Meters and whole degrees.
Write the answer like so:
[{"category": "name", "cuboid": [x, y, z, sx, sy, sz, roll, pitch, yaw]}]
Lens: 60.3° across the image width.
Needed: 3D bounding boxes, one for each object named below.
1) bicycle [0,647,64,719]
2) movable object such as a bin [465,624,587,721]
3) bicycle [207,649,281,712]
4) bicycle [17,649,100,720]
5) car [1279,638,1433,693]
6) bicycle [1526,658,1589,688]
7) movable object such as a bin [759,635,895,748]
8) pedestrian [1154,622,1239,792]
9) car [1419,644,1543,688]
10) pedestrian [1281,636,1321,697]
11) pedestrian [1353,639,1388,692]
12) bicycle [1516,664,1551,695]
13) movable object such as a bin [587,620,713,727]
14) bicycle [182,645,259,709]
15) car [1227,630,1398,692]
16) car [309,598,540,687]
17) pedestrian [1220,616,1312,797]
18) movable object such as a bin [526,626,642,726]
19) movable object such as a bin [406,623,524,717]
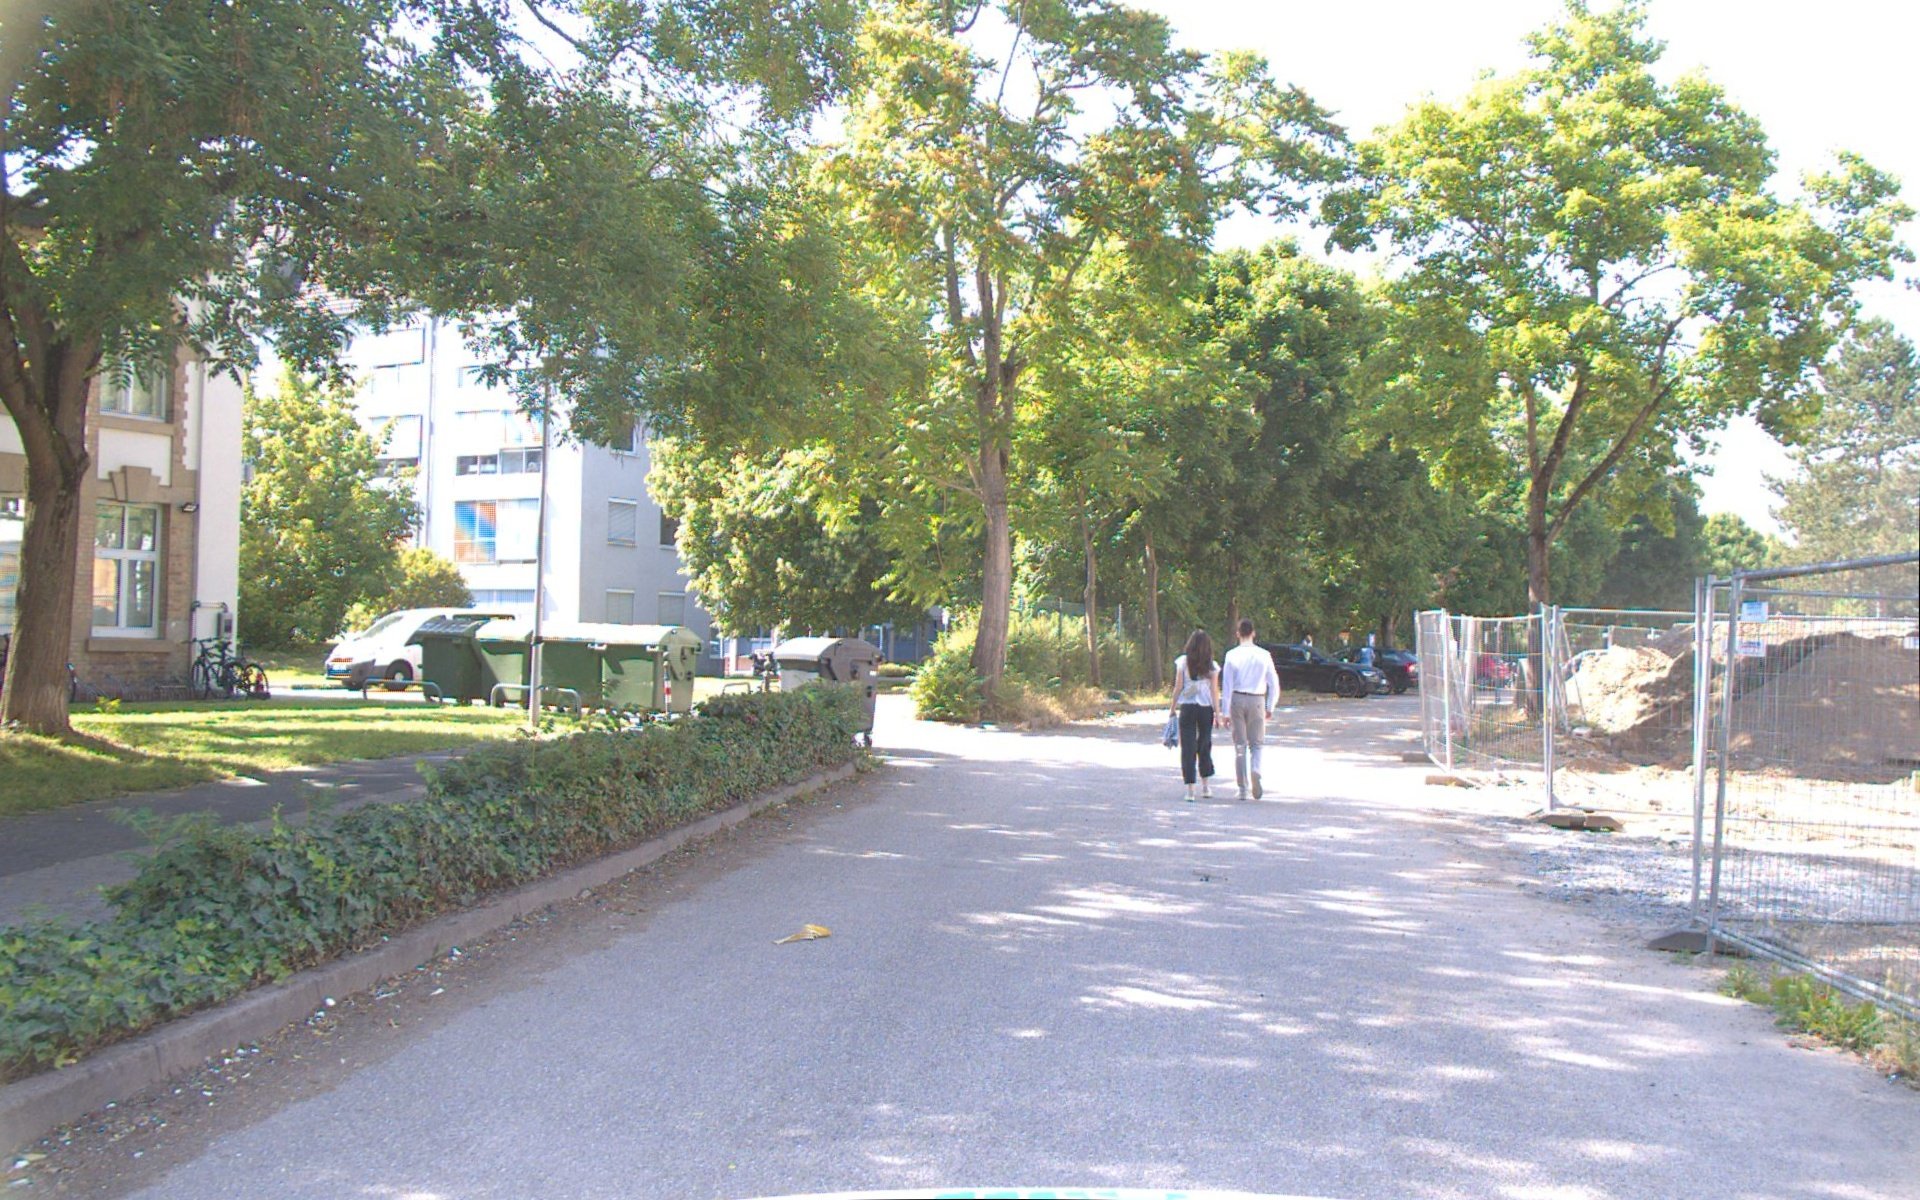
[{"category": "bicycle", "cuboid": [-14.206, 1.243, 25.045, 1.633, 1.010, 0.444, 1, -1, 36]}, {"category": "movable object such as a bin", "cuboid": [-6.772, 1.119, 25.837, 1.337, 1.456, 1.245, 0, -2, 32]}, {"category": "bicycle", "cuboid": [-12.308, 1.368, 28.419, 1.510, 1.010, 0.444, 1, -1, 36]}, {"category": "bicycle", "cuboid": [-13.908, 1.283, 25.504, 1.652, 1.010, 0.444, 1, -1, 36]}, {"category": "car", "cuboid": [12.852, 2.093, 53.692, 4.563, 1.612, 1.999, 1, 0, 24]}, {"category": "bicycle", "cuboid": [27.681, 3.387, 76.639, 2.623, 1.307, 0.818, 1, -1, 27]}, {"category": "movable object such as a bin", "cuboid": [-1.777, 1.194, 21.962, 1.236, 1.421, 1.384, 2, -2, -39]}, {"category": "pedestrian", "cuboid": [2.394, 1.070, 16.833, 0.720, 1.669, 0.781, 1, -1, -1]}, {"category": "car", "cuboid": [19.926, 2.499, 63.307, 4.208, 1.551, 1.888, 0, -1, 31]}, {"category": "pedestrian", "cuboid": [10.336, 2.009, 50.141, 0.993, 1.812, 0.819, 1, -2, 24]}, {"category": "pedestrian", "cuboid": [12.922, 2.042, 52.054, 0.906, 1.623, 0.785, 1, -1, 25]}, {"category": "bicycle", "cuboid": [24.612, 3.397, 70.955, 0.801, 1.307, 2.676, 0, -1, 32]}, {"category": "movable object such as a bin", "cuboid": [-4.539, 1.055, 24.250, 1.309, 1.507, 1.246, 0, -2, 28]}, {"category": "bicycle", "cuboid": [-12.524, 1.285, 27.981, 1.597, 1.010, 0.444, 1, -1, 36]}, {"category": "car", "cuboid": [10.303, 1.748, 48.364, 4.563, 1.612, 1.999, 1, 0, 24]}, {"category": "car", "cuboid": [-12.540, 1.019, 39.075, 1.959, 1.967, 5.024, 0, -2, 34]}, {"category": "pedestrian", "cuboid": [3.079, 1.050, 16.689, 0.739, 1.758, 0.854, 1, -1, -1]}, {"category": "movable object such as a bin", "cuboid": [-5.675, 1.131, 25.030, 1.194, 1.456, 1.248, 0, -2, 22]}, {"category": "movable object such as a bin", "cuboid": [-7.983, 1.114, 26.690, 1.321, 1.456, 1.245, 0, -2, 32]}]
